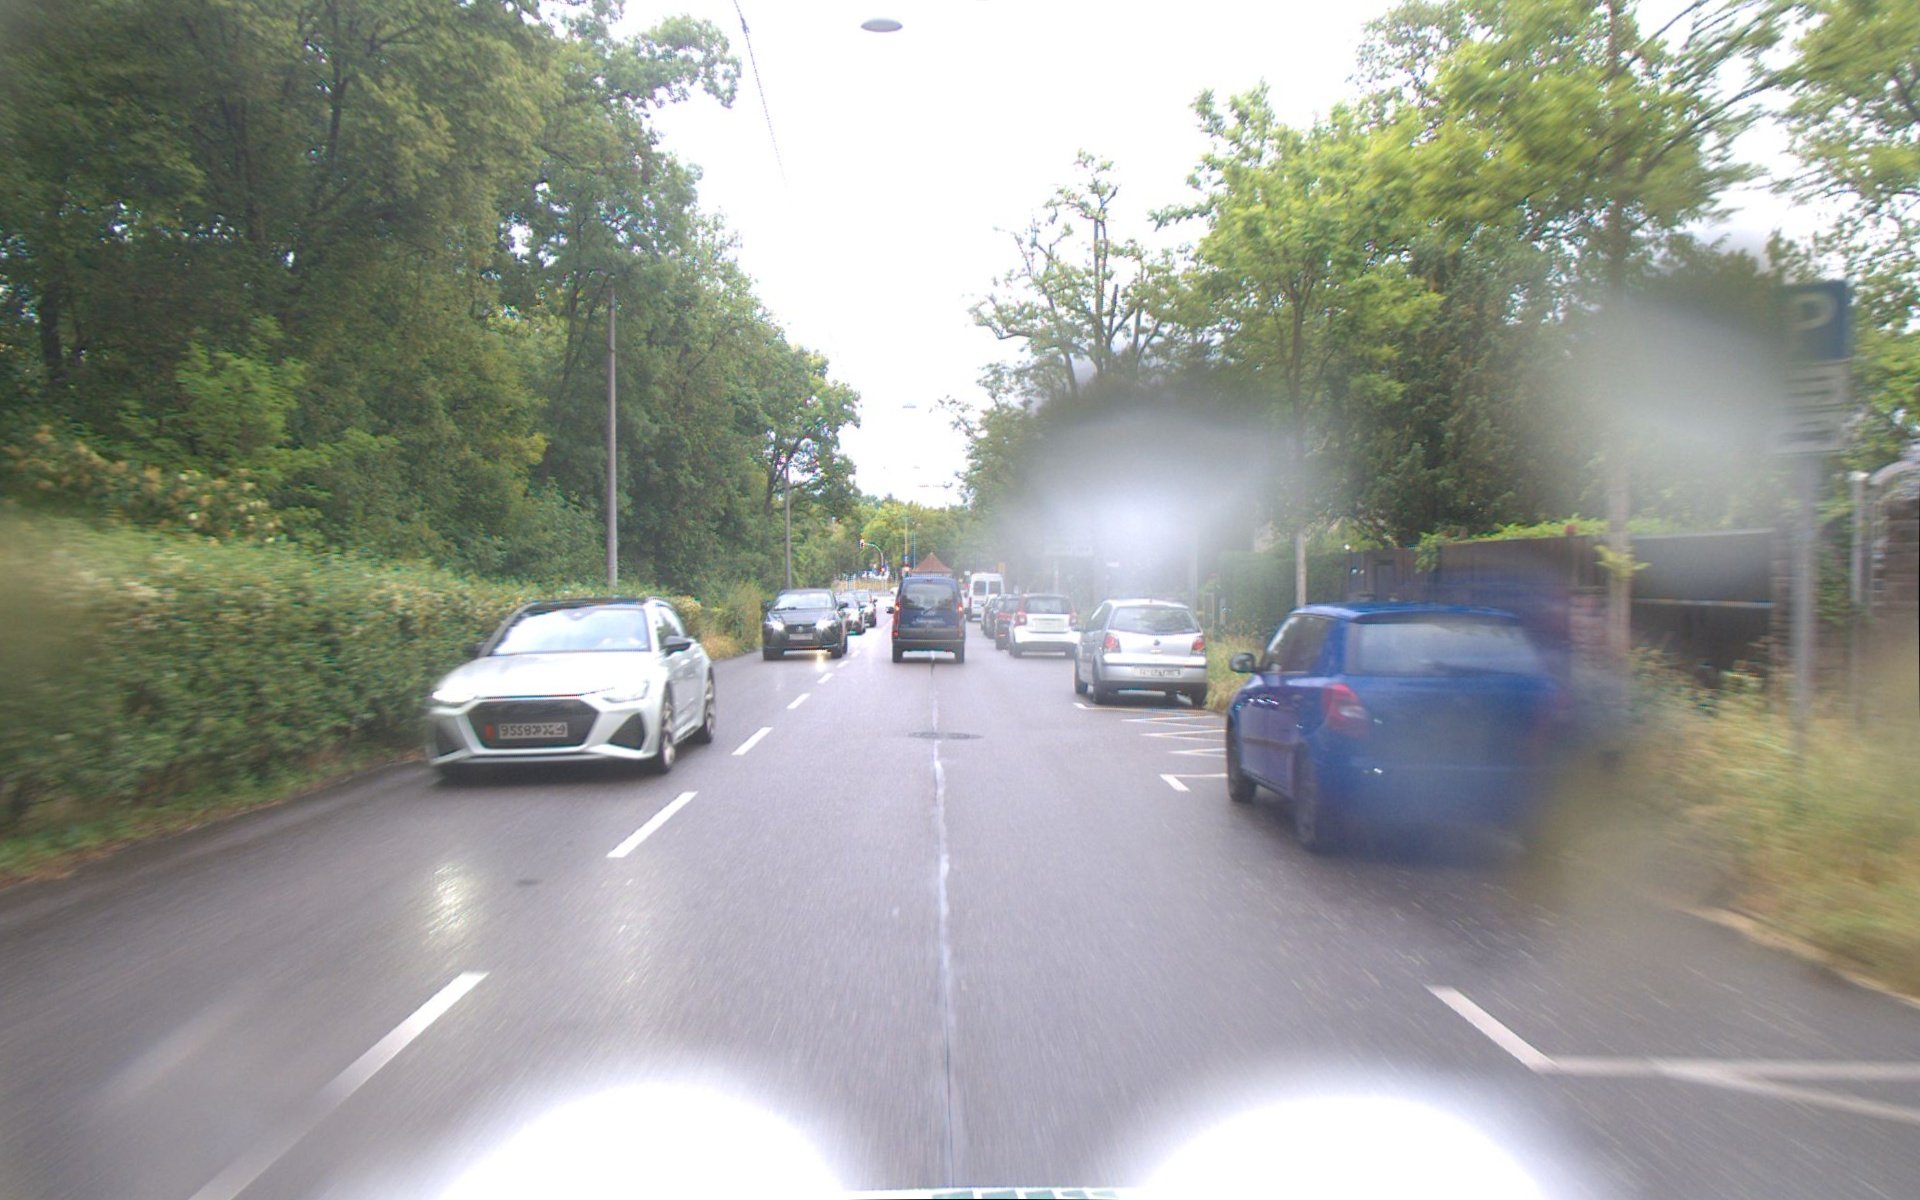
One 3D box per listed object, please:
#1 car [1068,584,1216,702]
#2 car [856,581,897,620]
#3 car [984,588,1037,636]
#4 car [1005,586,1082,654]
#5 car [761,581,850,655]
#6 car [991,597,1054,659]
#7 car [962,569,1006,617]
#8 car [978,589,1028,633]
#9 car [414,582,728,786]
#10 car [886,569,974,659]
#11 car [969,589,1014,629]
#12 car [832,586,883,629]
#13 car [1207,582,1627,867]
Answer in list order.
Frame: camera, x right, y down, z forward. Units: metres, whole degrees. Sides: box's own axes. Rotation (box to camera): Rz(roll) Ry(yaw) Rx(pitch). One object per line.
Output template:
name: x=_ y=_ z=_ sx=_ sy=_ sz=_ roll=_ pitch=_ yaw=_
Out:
car: x=2.622 y=0.576 z=24.566 sx=1.586 sy=1.534 sz=3.833 roll=2 pitch=1 yaw=-3
car: x=-3.717 y=-0.001 z=74.163 sx=1.688 sy=1.644 sz=4.154 roll=-1 pitch=1 yaw=-1
car: x=1.739 y=0.387 z=57.737 sx=1.663 sy=1.551 sz=4.210 roll=2 pitch=1 yaw=0
car: x=2.013 y=0.459 z=40.718 sx=1.600 sy=1.536 sz=2.956 roll=2 pitch=1 yaw=-2
car: x=-3.646 y=0.389 z=39.715 sx=1.767 sy=1.574 sz=4.431 roll=-2 pitch=1 yaw=-1
car: x=1.727 y=0.756 z=46.640 sx=1.663 sy=1.551 sz=3.868 roll=2 pitch=1 yaw=1
car: x=1.244 y=-0.379 z=88.096 sx=2.160 sy=2.492 sz=4.728 roll=0 pitch=0 yaw=-1
car: x=1.614 y=0.397 z=63.008 sx=1.664 sy=1.551 sz=3.866 roll=2 pitch=1 yaw=-2
car: x=-3.367 y=0.636 z=15.206 sx=1.818 sy=1.494 sz=4.446 roll=-2 pitch=1 yaw=-1
car: x=-0.713 y=0.272 z=36.797 sx=1.732 sy=1.862 sz=3.539 roll=1 pitch=1 yaw=-4
car: x=1.287 y=0.351 z=69.780 sx=1.664 sy=1.551 sz=3.866 roll=2 pitch=1 yaw=-2
car: x=-3.833 y=0.250 z=62.553 sx=1.693 sy=1.468 sz=5.111 roll=-1 pitch=1 yaw=-1
car: x=2.876 y=0.679 z=11.329 sx=1.686 sy=1.532 sz=4.050 roll=2 pitch=1 yaw=-1
